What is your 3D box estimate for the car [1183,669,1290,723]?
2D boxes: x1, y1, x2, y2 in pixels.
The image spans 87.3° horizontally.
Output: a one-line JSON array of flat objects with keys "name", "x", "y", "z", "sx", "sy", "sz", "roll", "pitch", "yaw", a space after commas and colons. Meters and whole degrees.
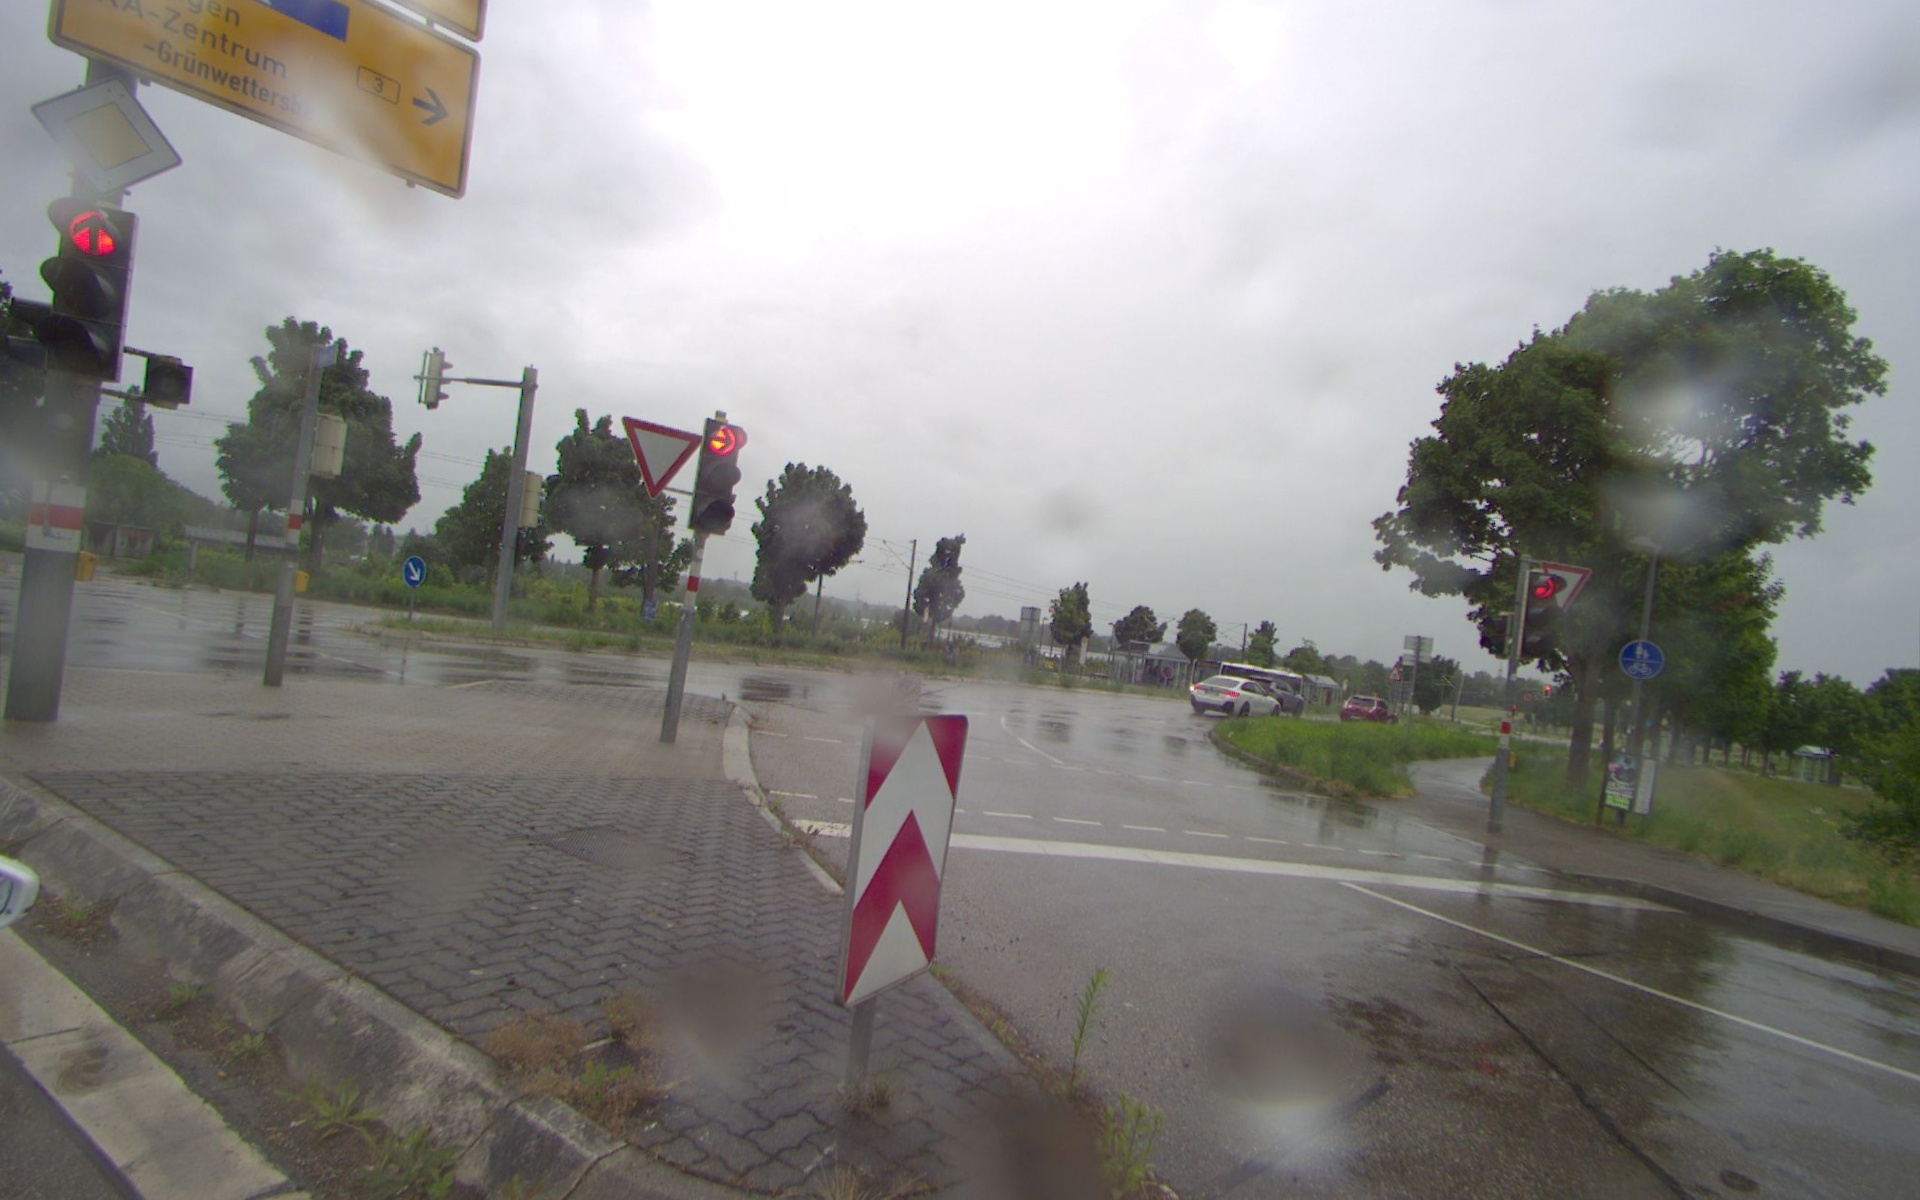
[{"name": "car", "x": 9.987, "y": 3.474, "z": 36.058, "sx": 1.773, "sy": 1.572, "sz": 4.880, "roll": 7, "pitch": -1, "yaw": 39}]

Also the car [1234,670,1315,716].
[{"name": "car", "x": 14.589, "y": 4.327, "z": 46.553, "sx": 1.885, "sy": 1.597, "sz": 4.527, "roll": 7, "pitch": -3, "yaw": 40}]

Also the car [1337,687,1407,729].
[{"name": "car", "x": 19.711, "y": 5.186, "z": 48.025, "sx": 1.707, "sy": 1.598, "sz": 4.374, "roll": 7, "pitch": -2, "yaw": 40}]

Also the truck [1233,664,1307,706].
[{"name": "truck", "x": 27.088, "y": 7.491, "z": 87.588, "sx": 2.617, "sy": 2.804, "sz": 9.323, "roll": 7, "pitch": -2, "yaw": 39}]

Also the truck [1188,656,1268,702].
[{"name": "truck", "x": 21.542, "y": 6.384, "z": 80.524, "sx": 2.617, "sy": 2.864, "sz": 8.820, "roll": 7, "pitch": -2, "yaw": 39}]
